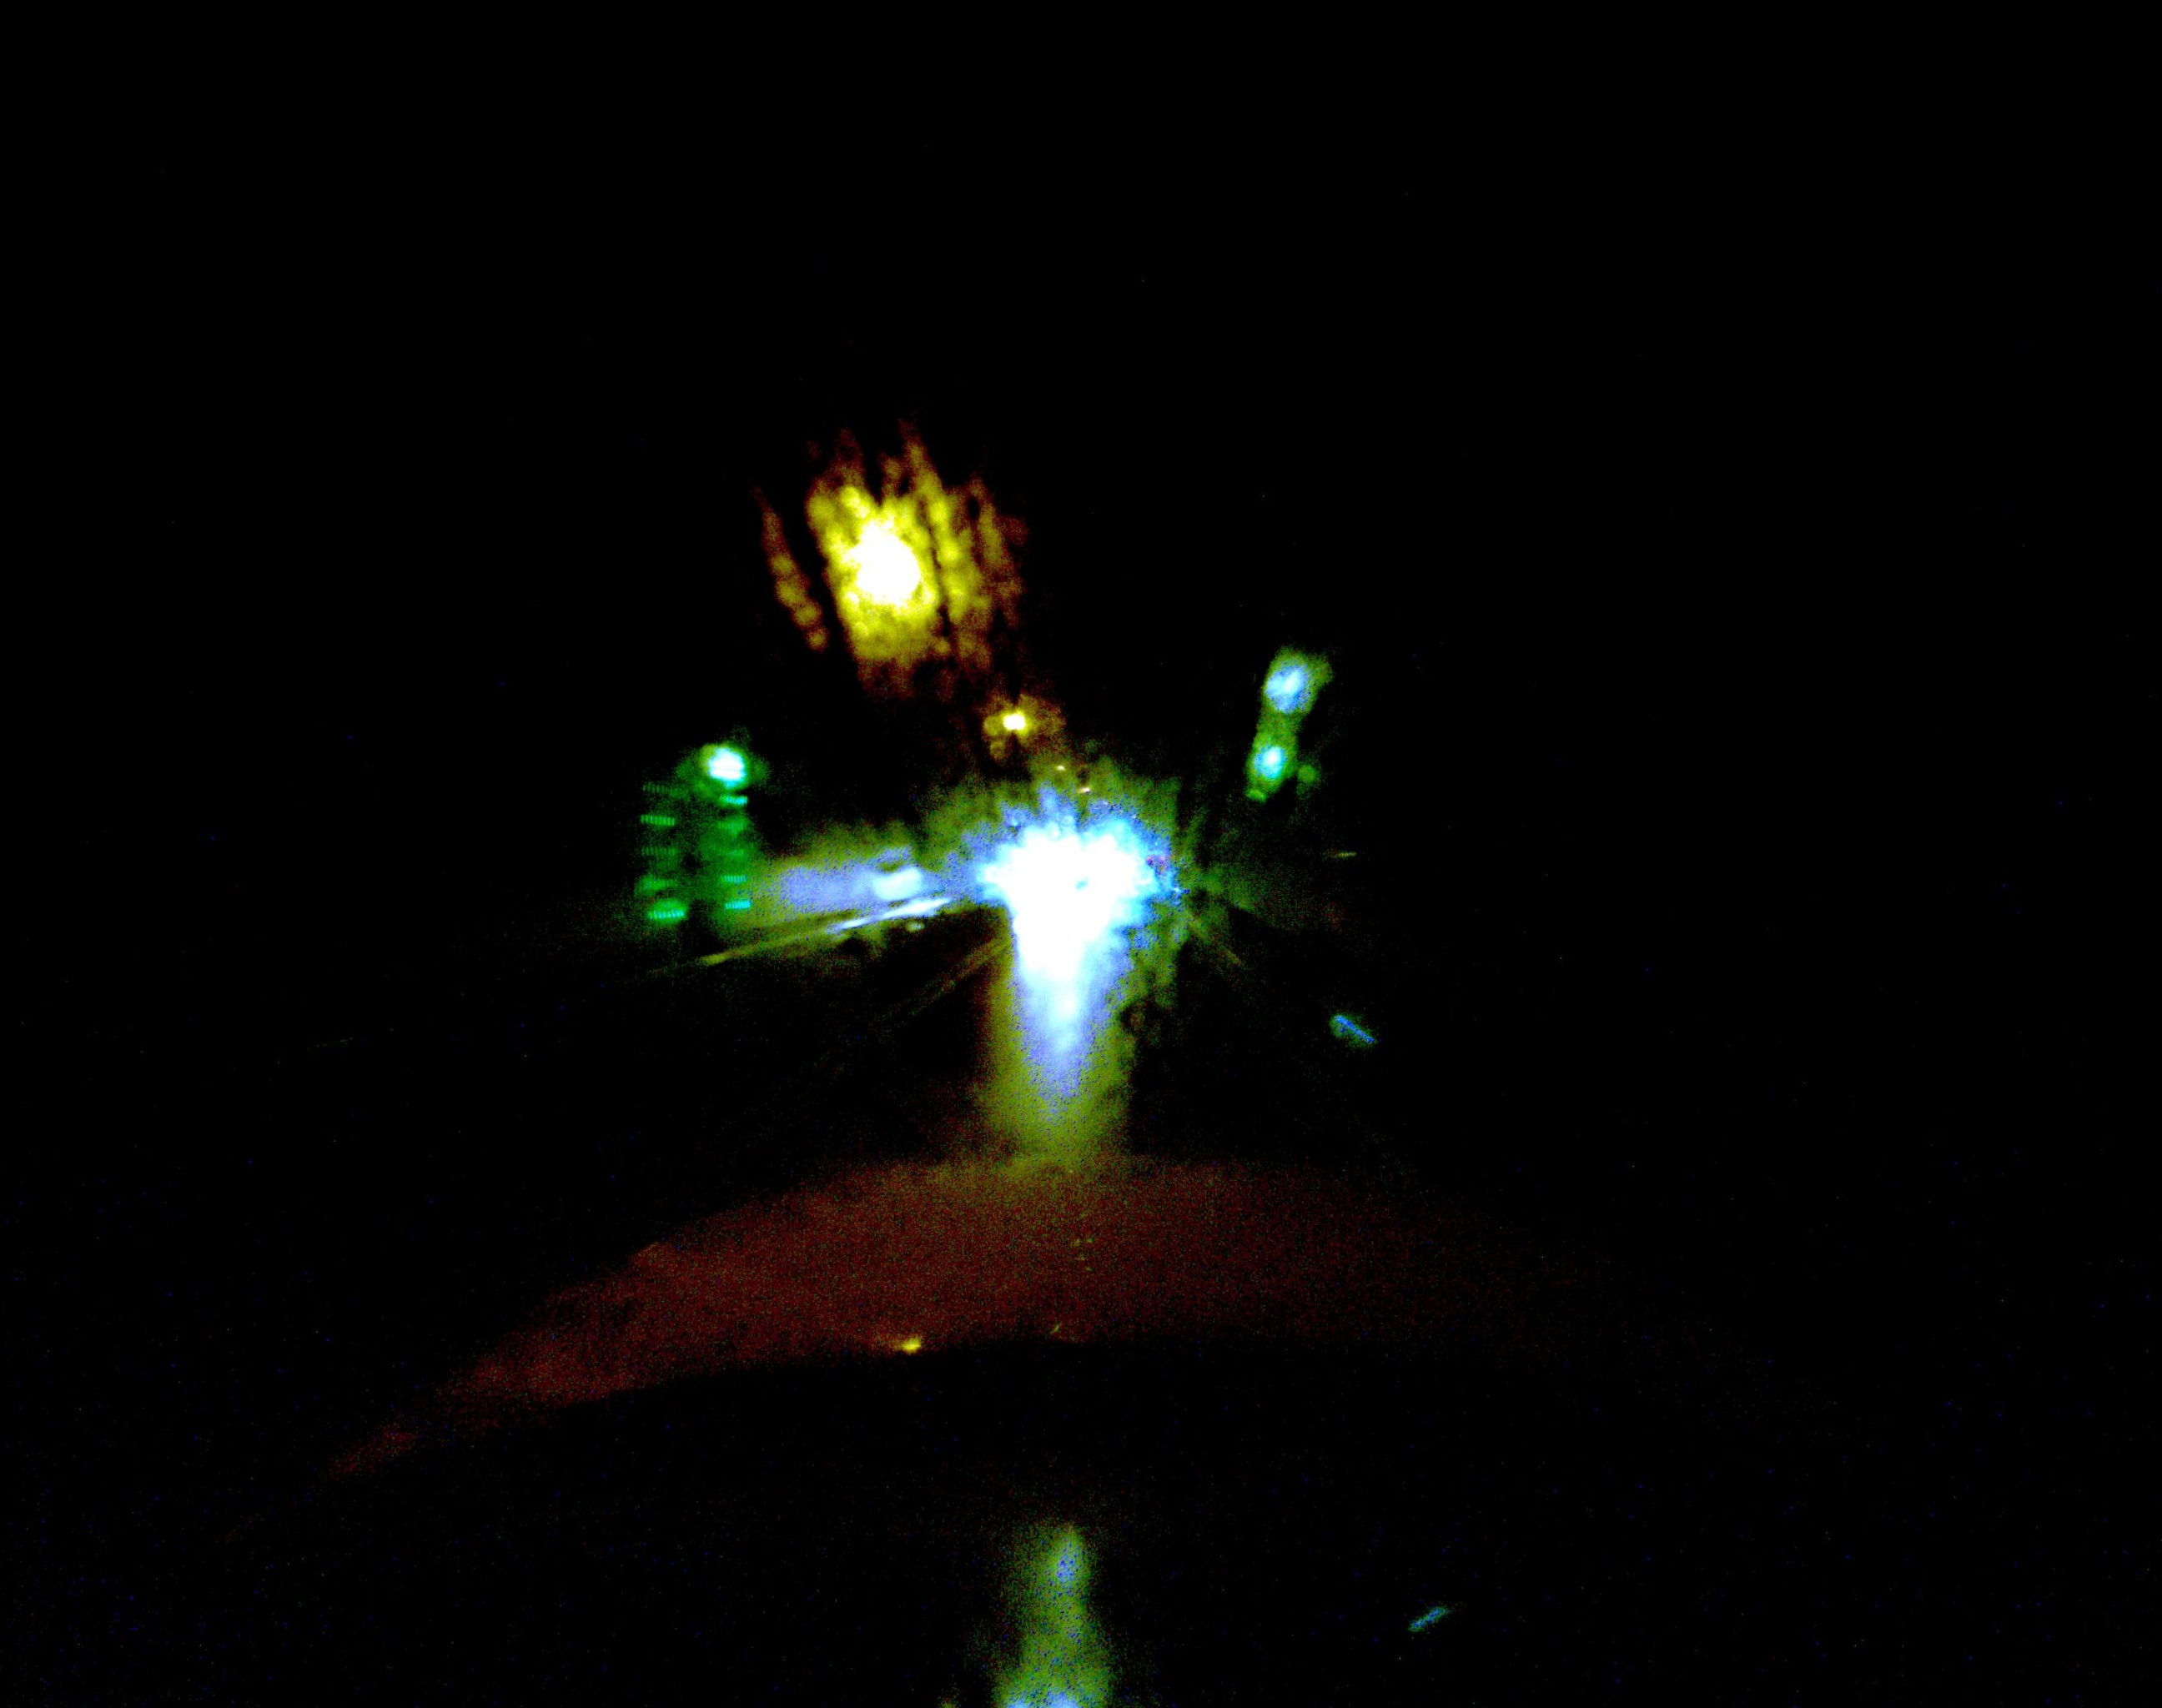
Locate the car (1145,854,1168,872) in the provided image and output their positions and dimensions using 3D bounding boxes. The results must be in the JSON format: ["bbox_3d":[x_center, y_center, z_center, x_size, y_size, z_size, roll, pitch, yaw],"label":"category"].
[{"bbox_3d":[7.074,0.809,76.703,1.985,1.650,4.003,0,0,3],"label":"car"}]

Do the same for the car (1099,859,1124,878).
[{"bbox_3d":[2.430,1.146,65.737,1.840,1.474,3.999,-1,0,0],"label":"car"}]

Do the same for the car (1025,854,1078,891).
[{"bbox_3d":[-1.297,0.806,37.641,1.984,1.650,4.005,0,0,5],"label":"car"}]
